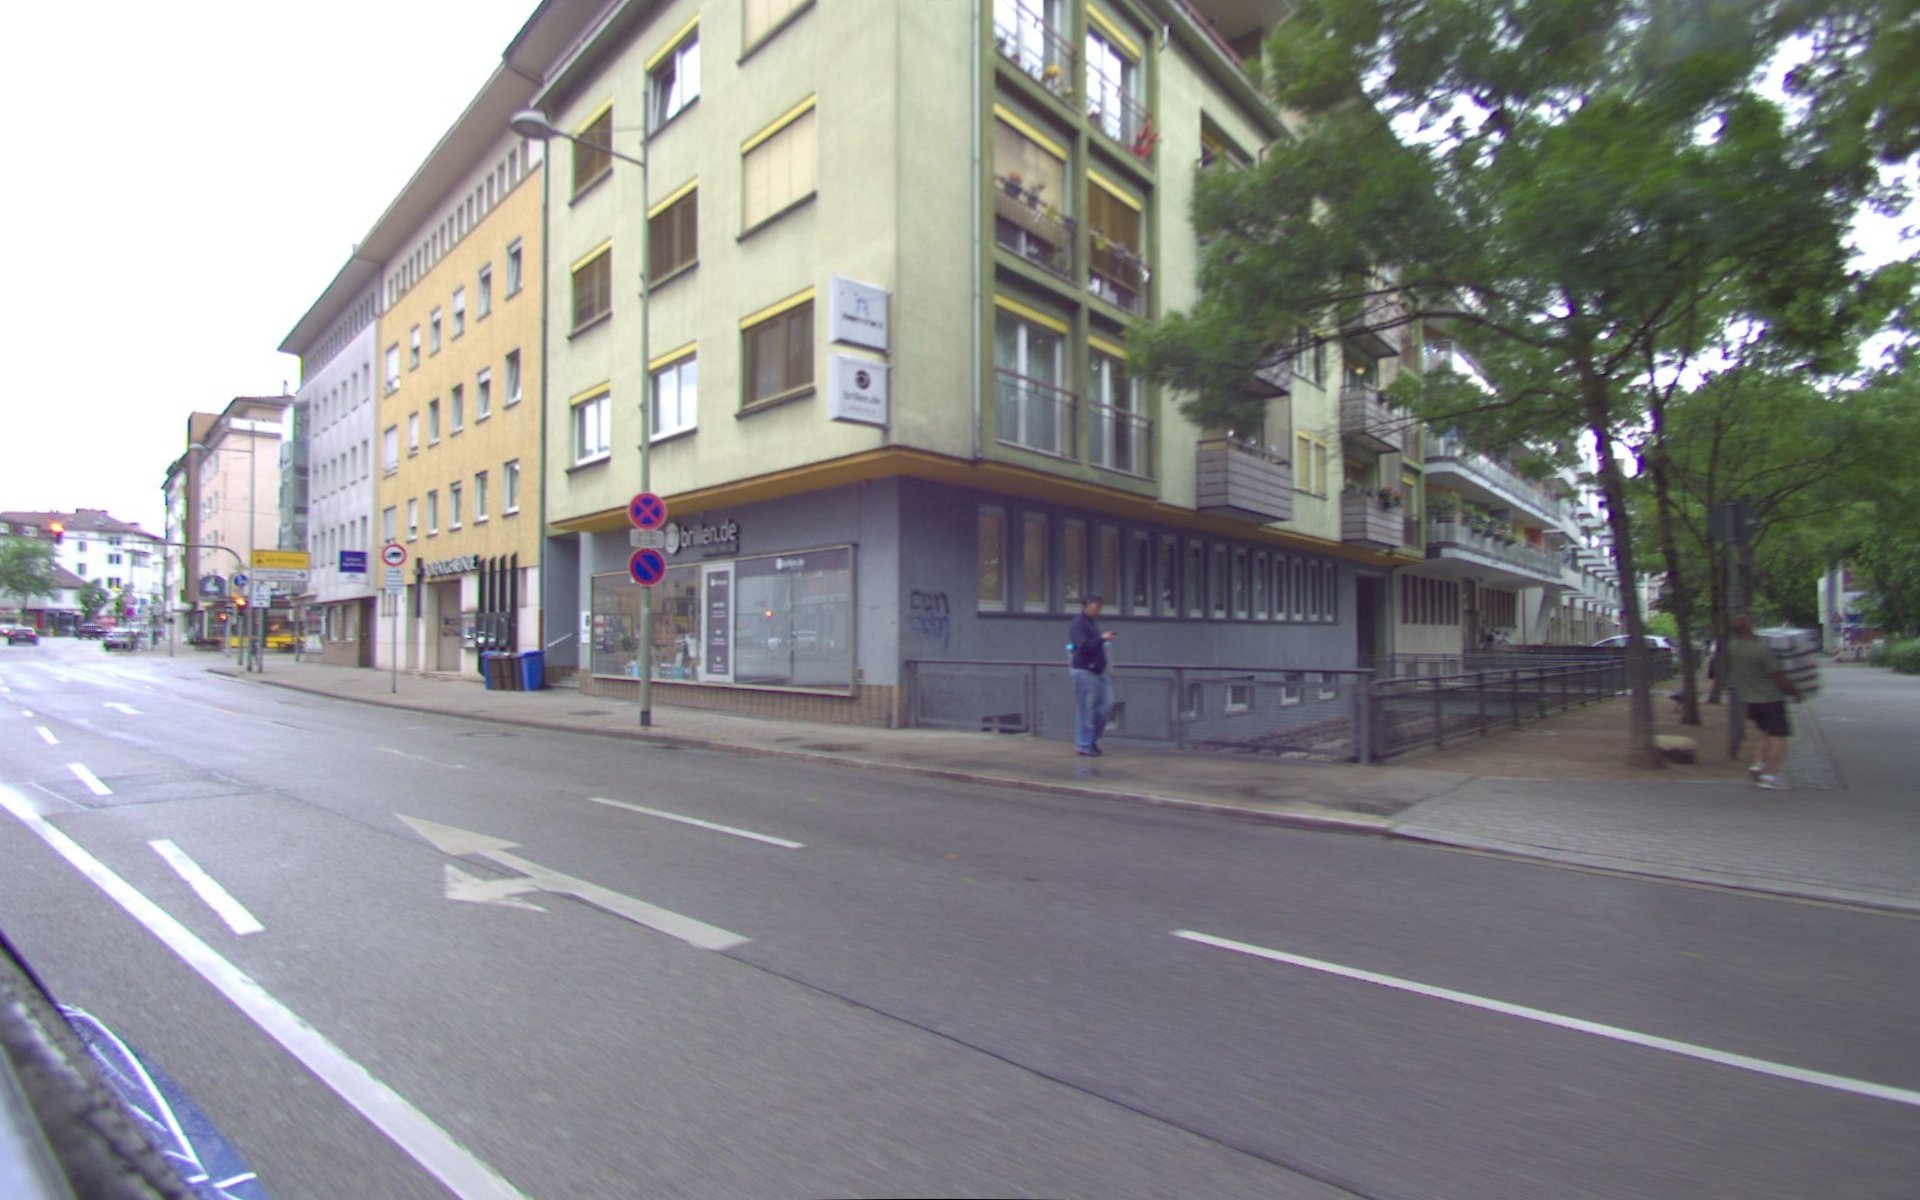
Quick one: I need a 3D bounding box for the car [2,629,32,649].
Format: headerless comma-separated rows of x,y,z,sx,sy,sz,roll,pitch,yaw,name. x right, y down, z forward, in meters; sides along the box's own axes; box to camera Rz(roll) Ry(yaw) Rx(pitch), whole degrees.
-77.815,3.241,83.528,1.723,1.608,4.005,2,-3,-42,car

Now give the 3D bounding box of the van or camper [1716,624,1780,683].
29.884,2.006,38.391,1.825,2.029,4.576,1,-2,38,van or camper

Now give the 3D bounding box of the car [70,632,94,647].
-95.287,4.271,109.853,1.567,1.539,3.496,1,-3,-36,car

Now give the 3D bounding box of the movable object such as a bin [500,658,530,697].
-10.889,1.887,24.764,0.522,0.902,0.435,-4,1,-42,movable object such as a bin

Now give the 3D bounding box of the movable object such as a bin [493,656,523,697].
-11.205,1.891,25.089,0.521,0.935,0.426,-4,1,-42,movable object such as a bin

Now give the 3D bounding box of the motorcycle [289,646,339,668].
-35.870,3.150,56.231,2.257,1.172,0.775,2,-3,-40,motorcycle

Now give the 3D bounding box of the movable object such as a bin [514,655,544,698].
-10.440,1.843,24.507,0.522,0.968,0.435,-4,1,-42,movable object such as a bin

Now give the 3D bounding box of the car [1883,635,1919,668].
51.541,2.775,55.370,1.525,1.559,3.818,-1,0,42,car

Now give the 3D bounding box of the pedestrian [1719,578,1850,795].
7.894,0.791,9.688,0.906,1.939,0.820,2,-3,-44,pedestrian

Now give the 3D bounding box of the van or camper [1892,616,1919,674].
43.639,1.971,44.907,2.945,2.420,8.536,-2,-3,40,van or camper

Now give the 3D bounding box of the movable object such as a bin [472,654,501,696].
-12.168,1.919,26.009,0.510,1.008,0.524,-4,1,-42,movable object such as a bin

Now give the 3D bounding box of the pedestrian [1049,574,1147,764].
1.549,0.757,11.384,0.741,2.029,0.783,2,-3,-42,pedestrian

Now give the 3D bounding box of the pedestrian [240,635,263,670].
-33.021,2.450,47.177,0.773,1.600,0.675,-2,-1,-29,pedestrian

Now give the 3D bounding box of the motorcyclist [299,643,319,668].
-36.052,3.074,56.077,0.859,1.338,0.493,2,-3,-41,motorcyclist

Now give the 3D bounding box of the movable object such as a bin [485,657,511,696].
-11.594,1.913,25.392,0.458,0.935,0.429,-4,1,-42,movable object such as a bin

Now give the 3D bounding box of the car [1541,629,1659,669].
27.111,2.043,42.949,3.998,1.608,1.757,-1,-2,41,car

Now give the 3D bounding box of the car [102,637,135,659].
-62.841,3.577,75.609,1.807,1.634,4.007,1,-3,-39,car
